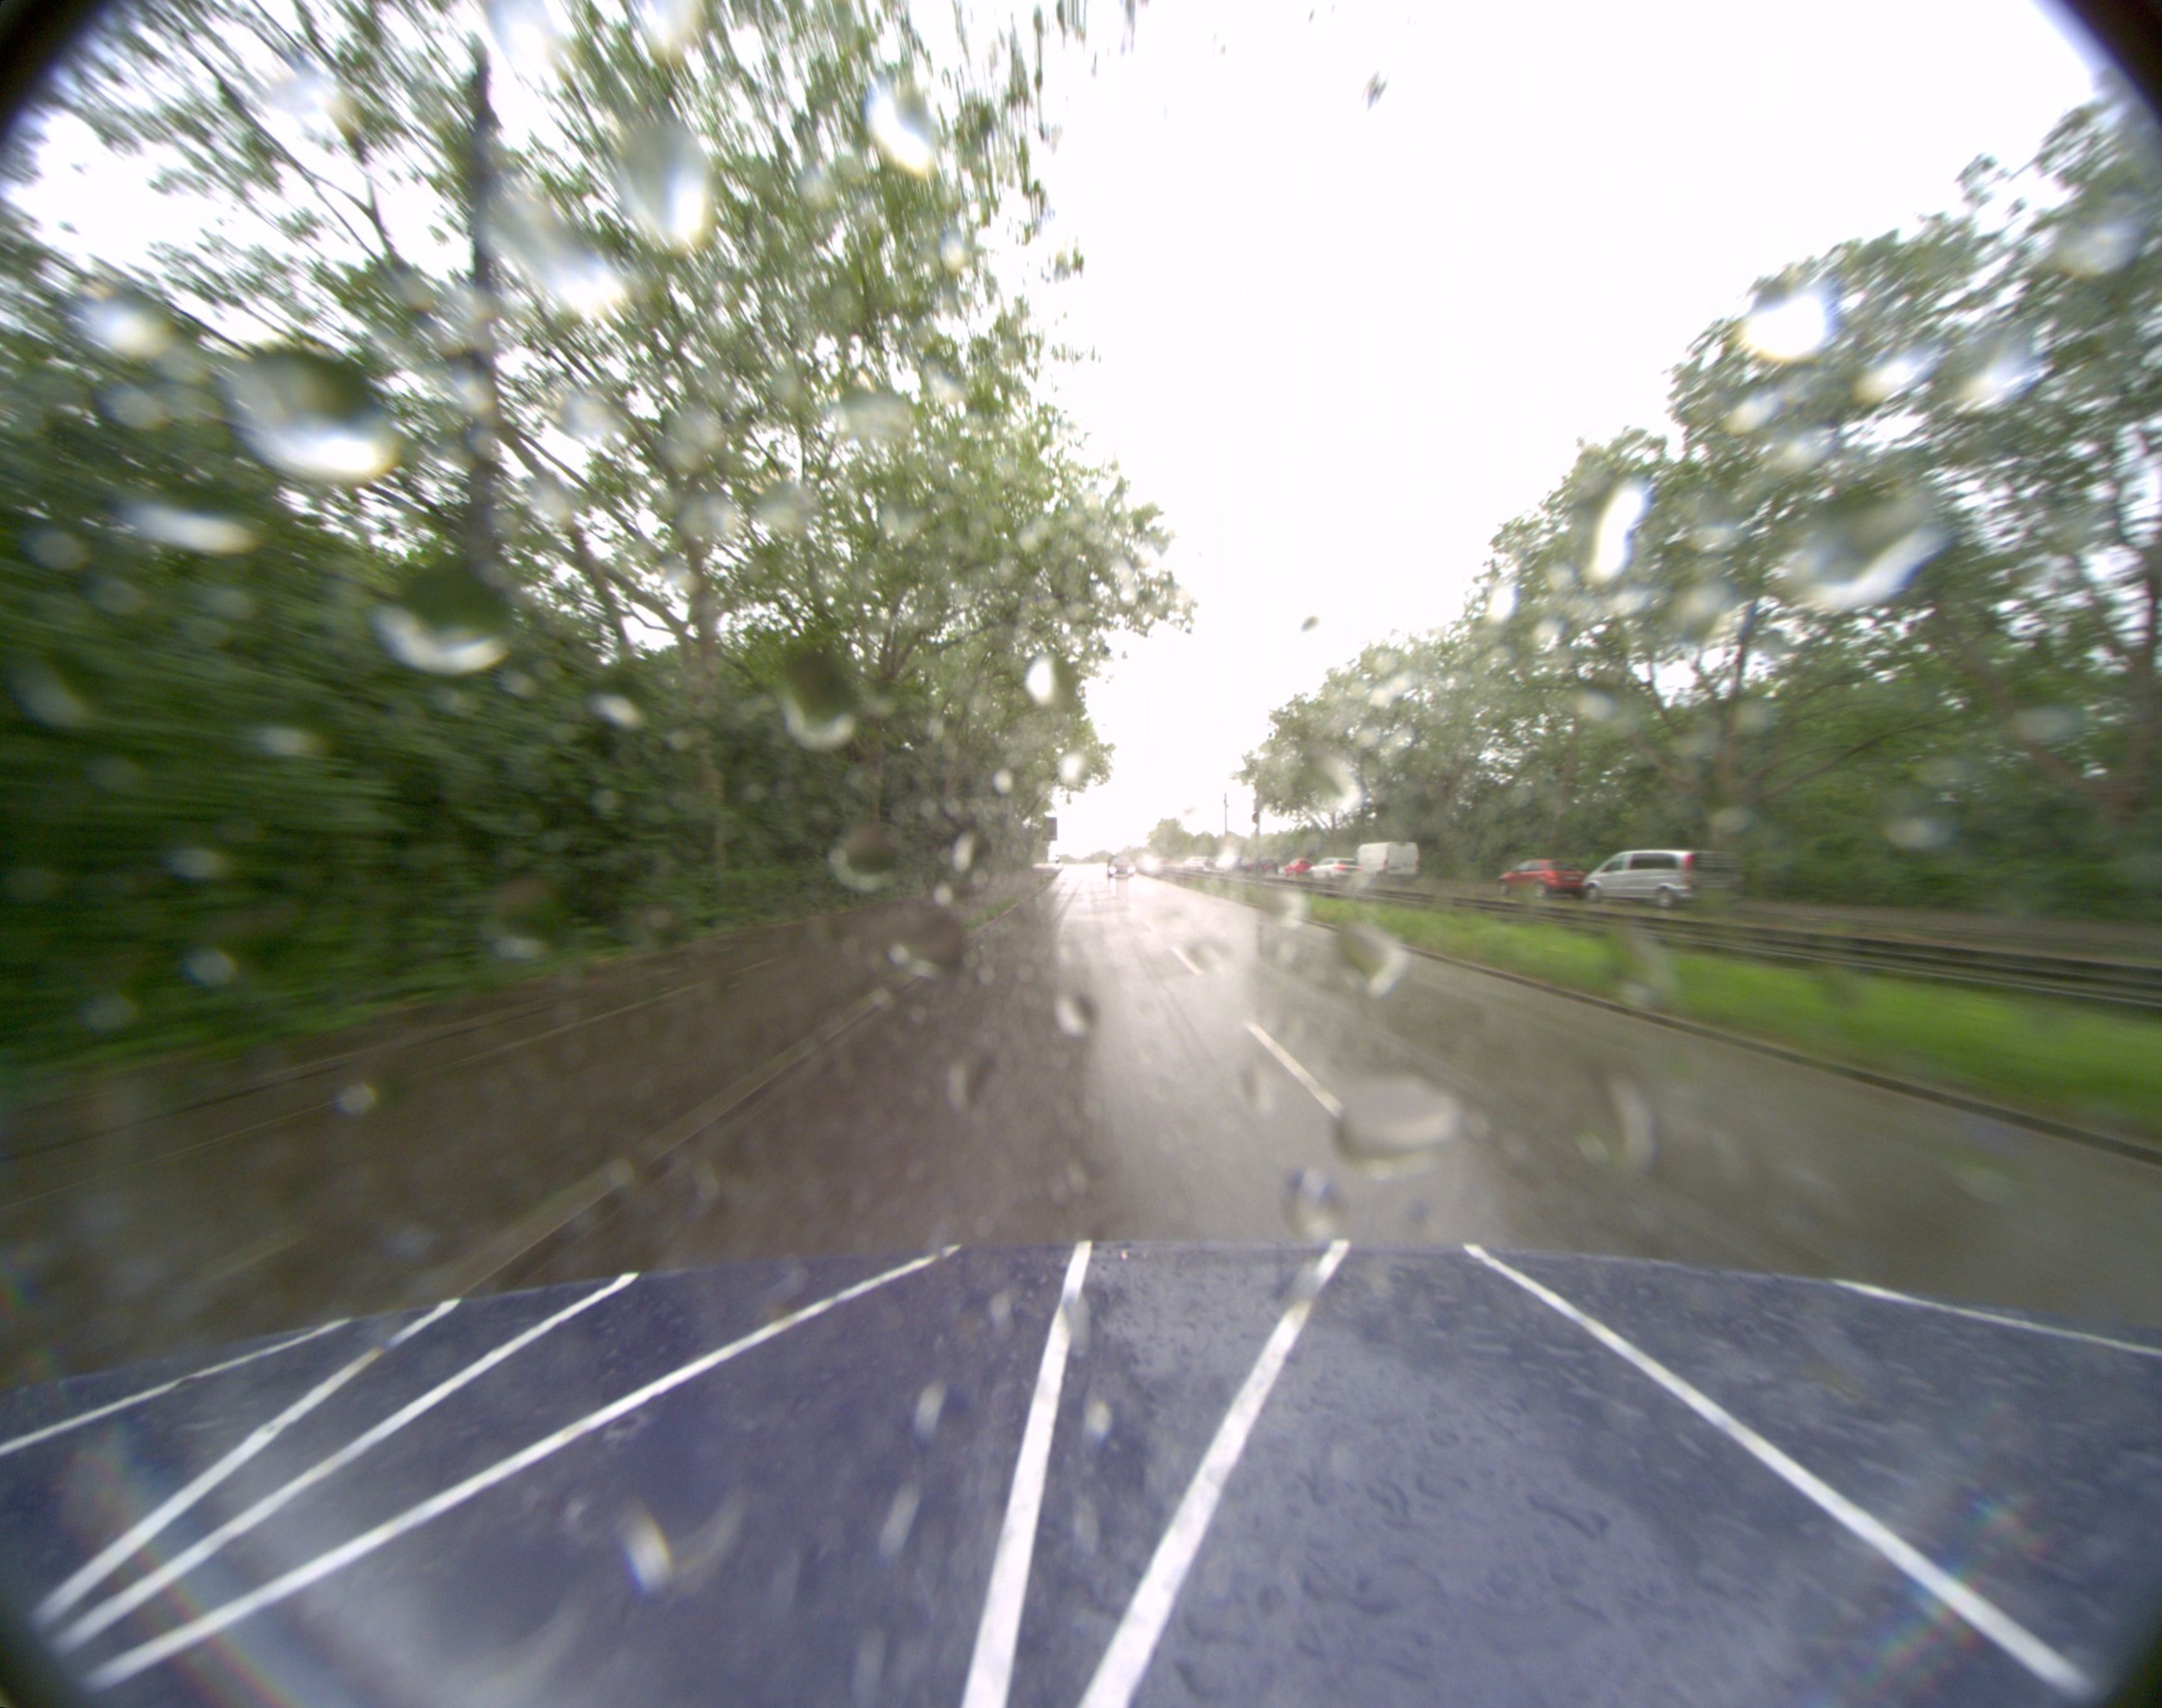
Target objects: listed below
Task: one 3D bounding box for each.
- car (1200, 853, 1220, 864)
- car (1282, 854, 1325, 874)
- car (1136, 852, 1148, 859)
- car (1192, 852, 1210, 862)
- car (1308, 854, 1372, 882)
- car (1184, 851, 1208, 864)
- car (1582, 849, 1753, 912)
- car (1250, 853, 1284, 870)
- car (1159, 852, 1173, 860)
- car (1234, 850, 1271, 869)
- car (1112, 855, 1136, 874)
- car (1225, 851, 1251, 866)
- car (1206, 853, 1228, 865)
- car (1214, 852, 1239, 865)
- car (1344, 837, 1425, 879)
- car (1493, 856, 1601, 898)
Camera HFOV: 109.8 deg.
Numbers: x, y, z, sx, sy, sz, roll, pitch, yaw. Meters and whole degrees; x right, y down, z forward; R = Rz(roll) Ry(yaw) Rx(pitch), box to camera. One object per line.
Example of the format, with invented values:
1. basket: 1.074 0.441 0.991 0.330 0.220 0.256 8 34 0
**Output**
1. car: 17.416 0.540 102.832 1.653 1.423 3.924 1 0 -5
2. car: 18.157 0.808 62.264 2.039 1.543 4.383 1 0 -3
3. car: 13.126 0.320 163.579 2.039 1.458 4.916 -1 1 -3
4. car: 17.096 0.443 108.039 1.653 1.423 4.151 1 0 -4
5. car: 15.377 0.807 45.404 1.984 1.558 4.767 1 0 -2
6. car: 14.032 0.424 92.963 2.039 1.543 4.995 1 0 -3
7. car: 19.090 0.784 25.076 1.962 1.851 4.639 1 0 -1
8. car: 17.949 0.738 73.509 2.039 1.543 4.383 1 0 -3
9. car: 16.673 0.393 148.979 2.039 1.458 4.917 -1 0 -3
10. car: 14.368 0.444 63.929 2.038 1.543 4.565 1 0 -1
11. car: 3.313 0.799 59.049 1.726 1.425 3.851 -1 0 1
12. car: 17.536 0.467 84.835 1.890 1.640 4.368 1 0 -2
13. car: 17.362 0.607 97.204 1.653 1.423 4.130 1 0 -6
14. car: 17.432 0.542 91.295 1.891 1.502 4.577 1 0 -2
15. car: 18.530 0.199 46.802 2.336 2.432 6.137 1 1 -2
16. car: 18.867 0.872 30.998 1.822 1.543 4.024 1 0 -1
